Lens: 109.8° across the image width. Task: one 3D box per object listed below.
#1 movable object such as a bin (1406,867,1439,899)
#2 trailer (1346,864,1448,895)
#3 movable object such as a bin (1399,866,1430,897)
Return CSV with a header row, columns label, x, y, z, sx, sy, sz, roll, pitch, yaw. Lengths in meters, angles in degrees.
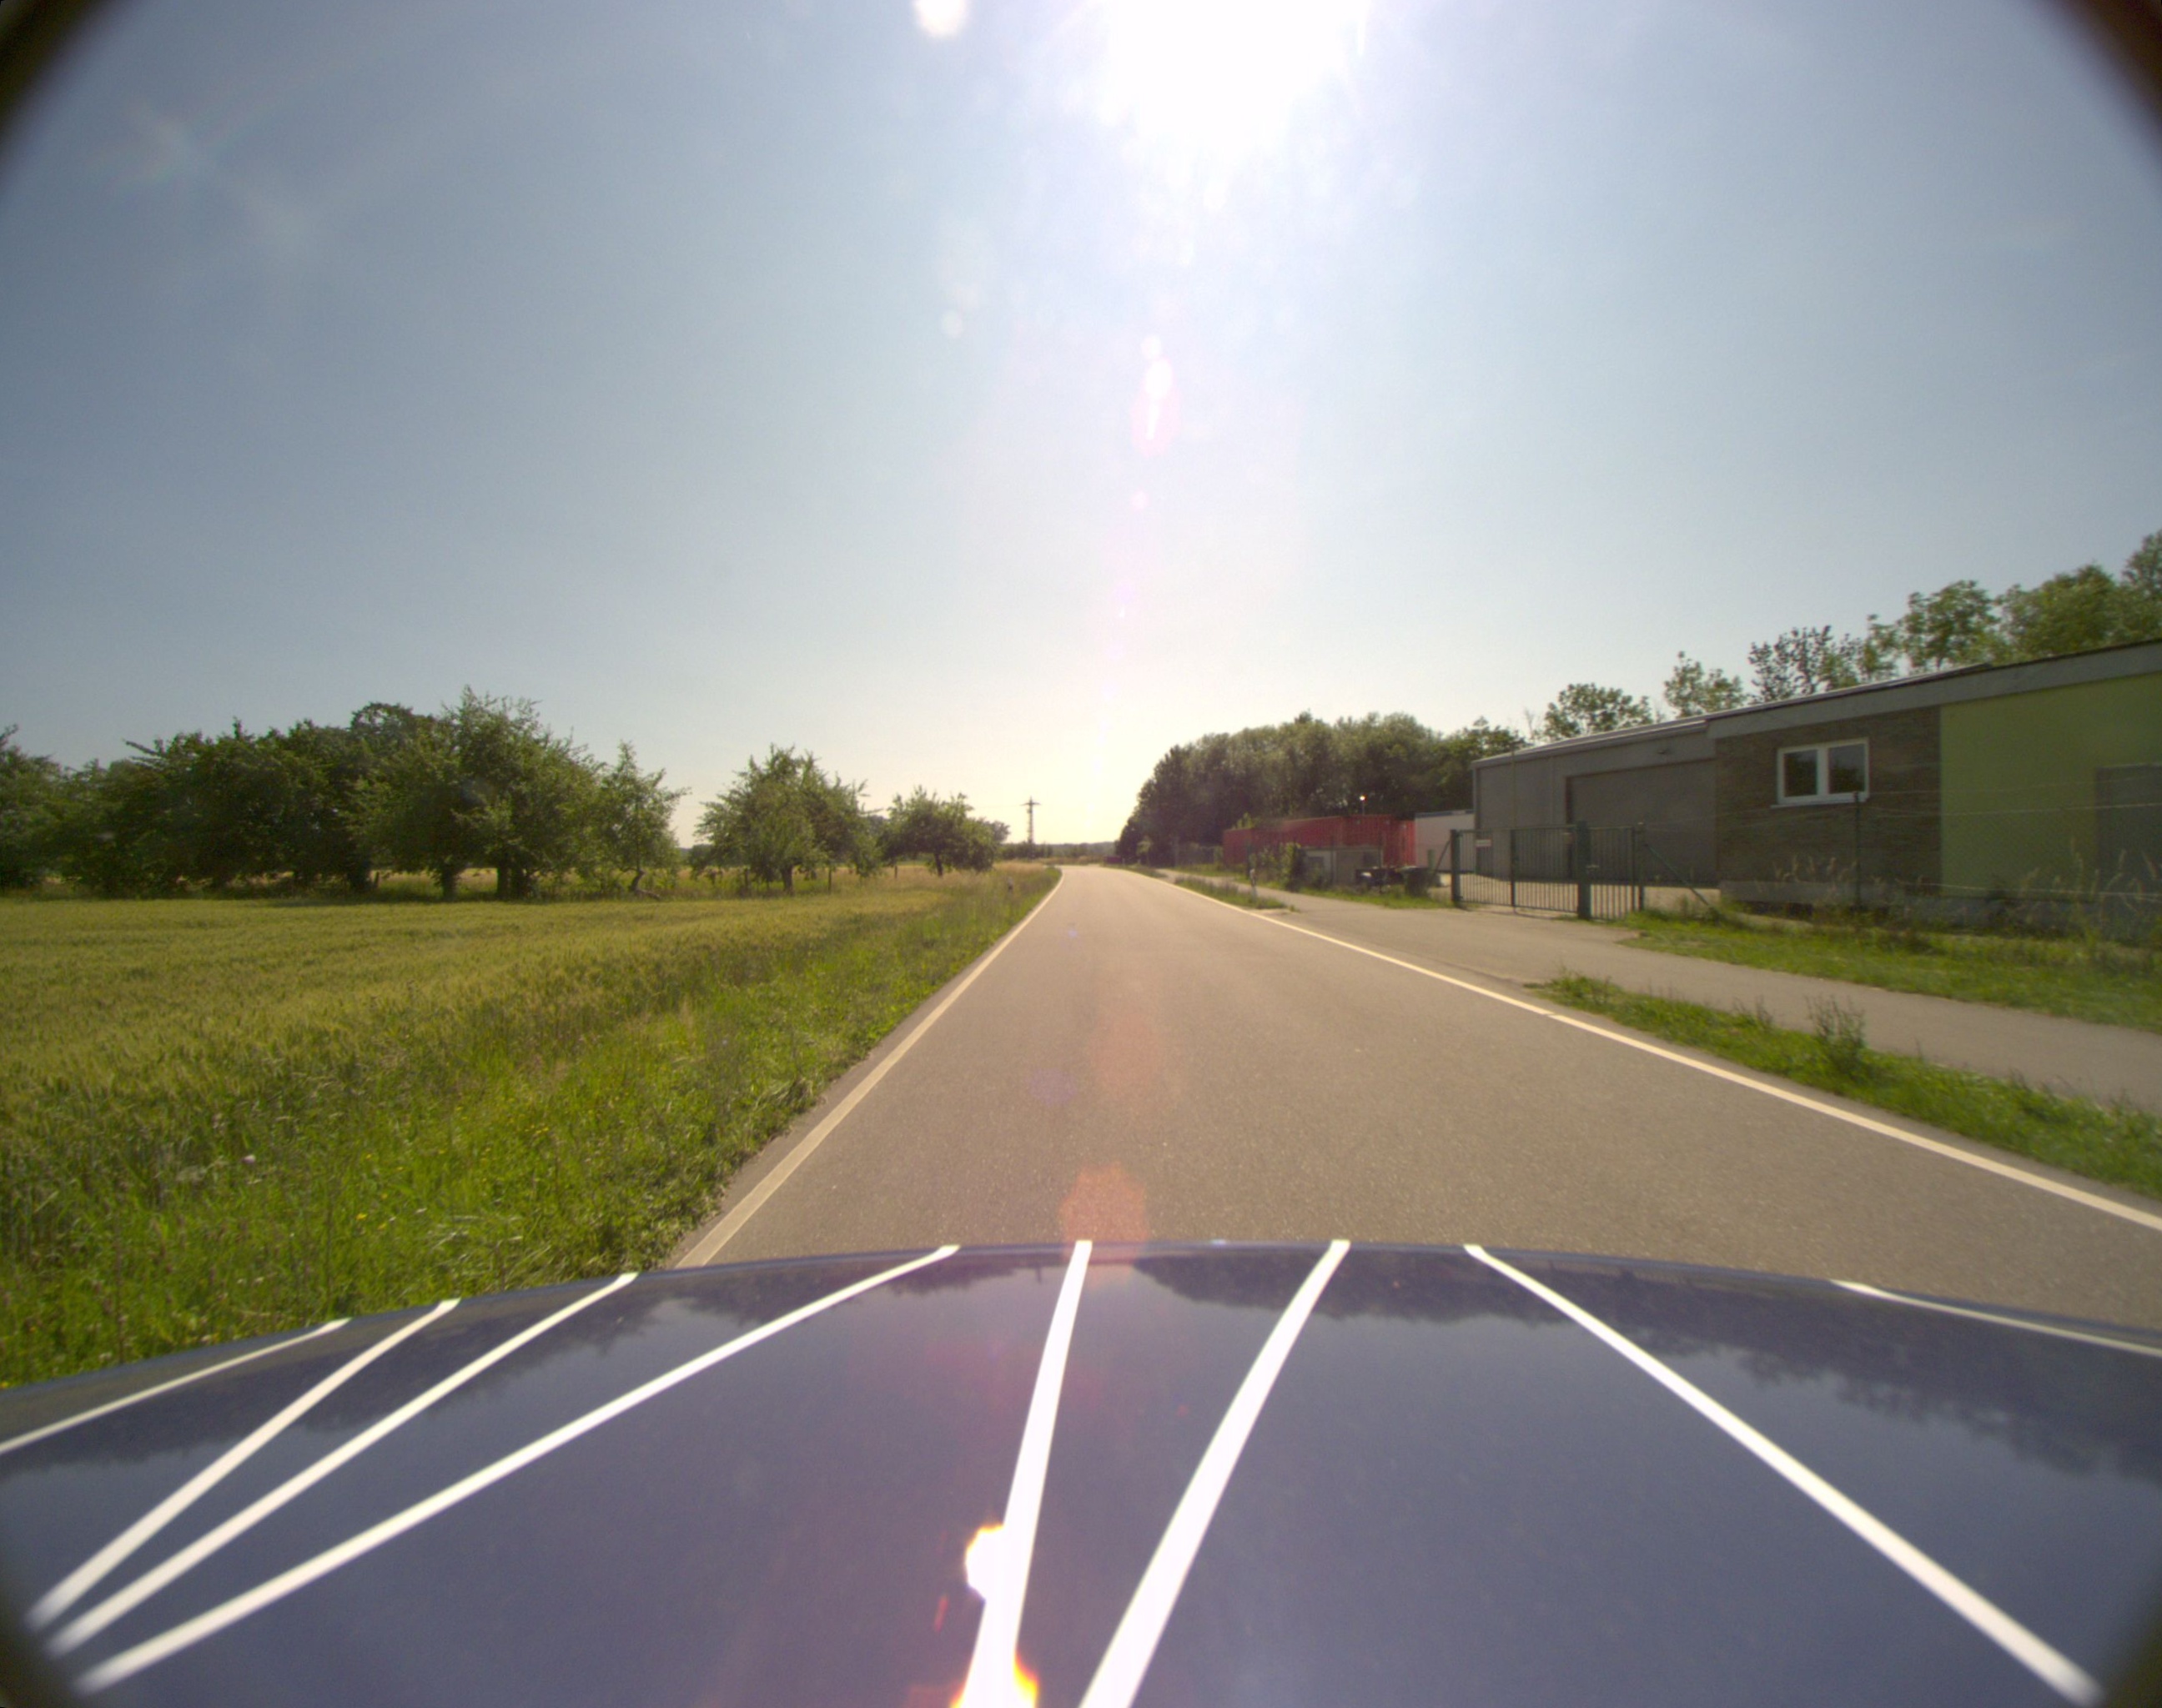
label,x,y,z,sx,sy,sz,roll,pitch,yaw
movable object such as a bin,9.424,0.799,20.986,0.640,0.849,0.654,0,0,6
trailer,10.076,0.795,24.486,1.635,0.861,3.356,-1,0,-6
movable object such as a bin,9.503,0.784,21.664,0.640,0.871,0.654,0,0,6
